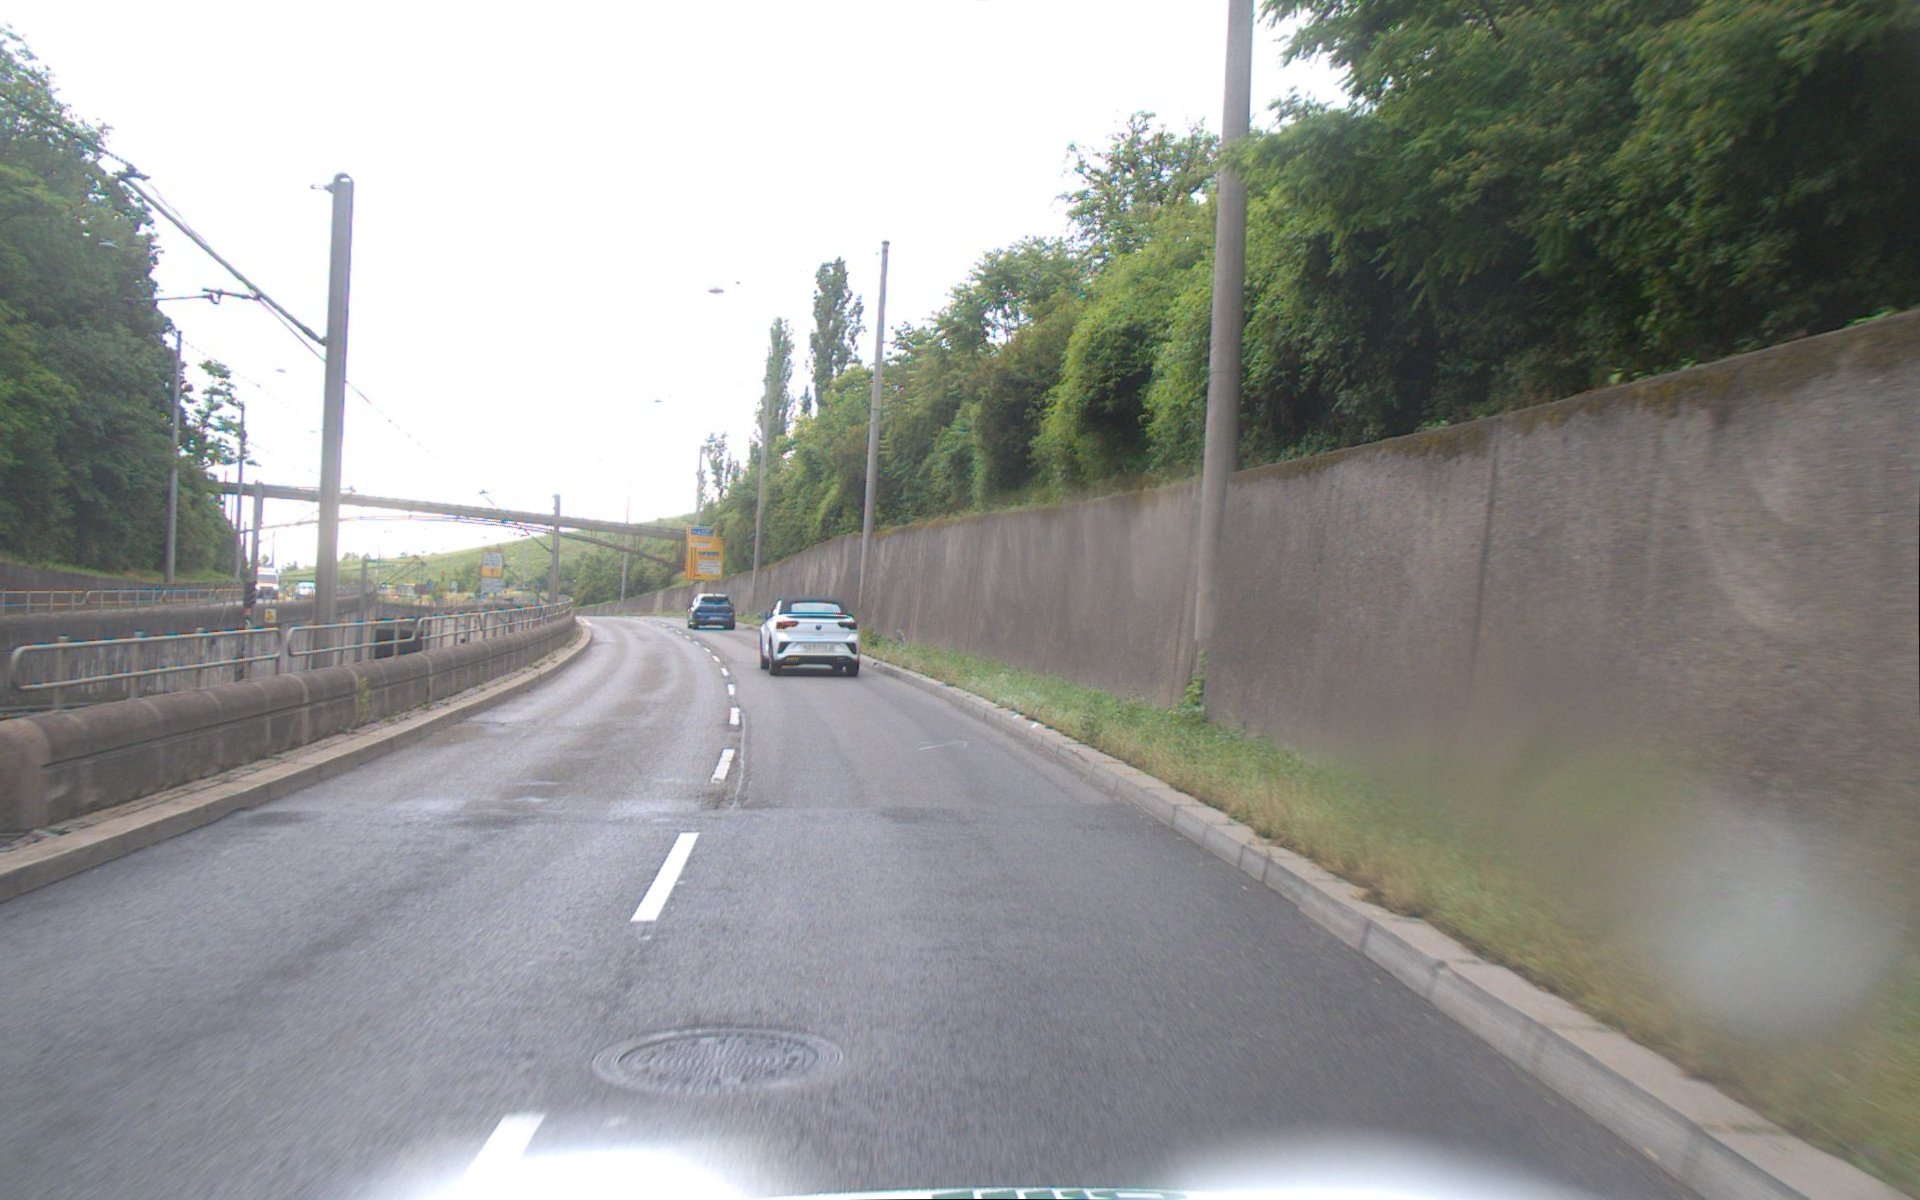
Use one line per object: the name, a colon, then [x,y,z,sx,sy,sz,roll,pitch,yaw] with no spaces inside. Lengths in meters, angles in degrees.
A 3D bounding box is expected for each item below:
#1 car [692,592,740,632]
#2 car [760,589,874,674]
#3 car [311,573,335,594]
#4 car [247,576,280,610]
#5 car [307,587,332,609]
car: [-10.137,0.478,68.970,1.890,1.627,4.055,0,0,-7]
car: [-2.963,0.604,33.473,1.959,1.606,4.116,0,0,-10]
car: [-56.058,-1.442,145.683,1.933,1.780,4.115,1,-1,-21]
car: [-59.208,-0.544,140.584,2.150,2.782,6.309,1,-1,-19]
car: [-52.799,-0.128,136.393,1.790,1.734,4.087,1,-1,-19]
